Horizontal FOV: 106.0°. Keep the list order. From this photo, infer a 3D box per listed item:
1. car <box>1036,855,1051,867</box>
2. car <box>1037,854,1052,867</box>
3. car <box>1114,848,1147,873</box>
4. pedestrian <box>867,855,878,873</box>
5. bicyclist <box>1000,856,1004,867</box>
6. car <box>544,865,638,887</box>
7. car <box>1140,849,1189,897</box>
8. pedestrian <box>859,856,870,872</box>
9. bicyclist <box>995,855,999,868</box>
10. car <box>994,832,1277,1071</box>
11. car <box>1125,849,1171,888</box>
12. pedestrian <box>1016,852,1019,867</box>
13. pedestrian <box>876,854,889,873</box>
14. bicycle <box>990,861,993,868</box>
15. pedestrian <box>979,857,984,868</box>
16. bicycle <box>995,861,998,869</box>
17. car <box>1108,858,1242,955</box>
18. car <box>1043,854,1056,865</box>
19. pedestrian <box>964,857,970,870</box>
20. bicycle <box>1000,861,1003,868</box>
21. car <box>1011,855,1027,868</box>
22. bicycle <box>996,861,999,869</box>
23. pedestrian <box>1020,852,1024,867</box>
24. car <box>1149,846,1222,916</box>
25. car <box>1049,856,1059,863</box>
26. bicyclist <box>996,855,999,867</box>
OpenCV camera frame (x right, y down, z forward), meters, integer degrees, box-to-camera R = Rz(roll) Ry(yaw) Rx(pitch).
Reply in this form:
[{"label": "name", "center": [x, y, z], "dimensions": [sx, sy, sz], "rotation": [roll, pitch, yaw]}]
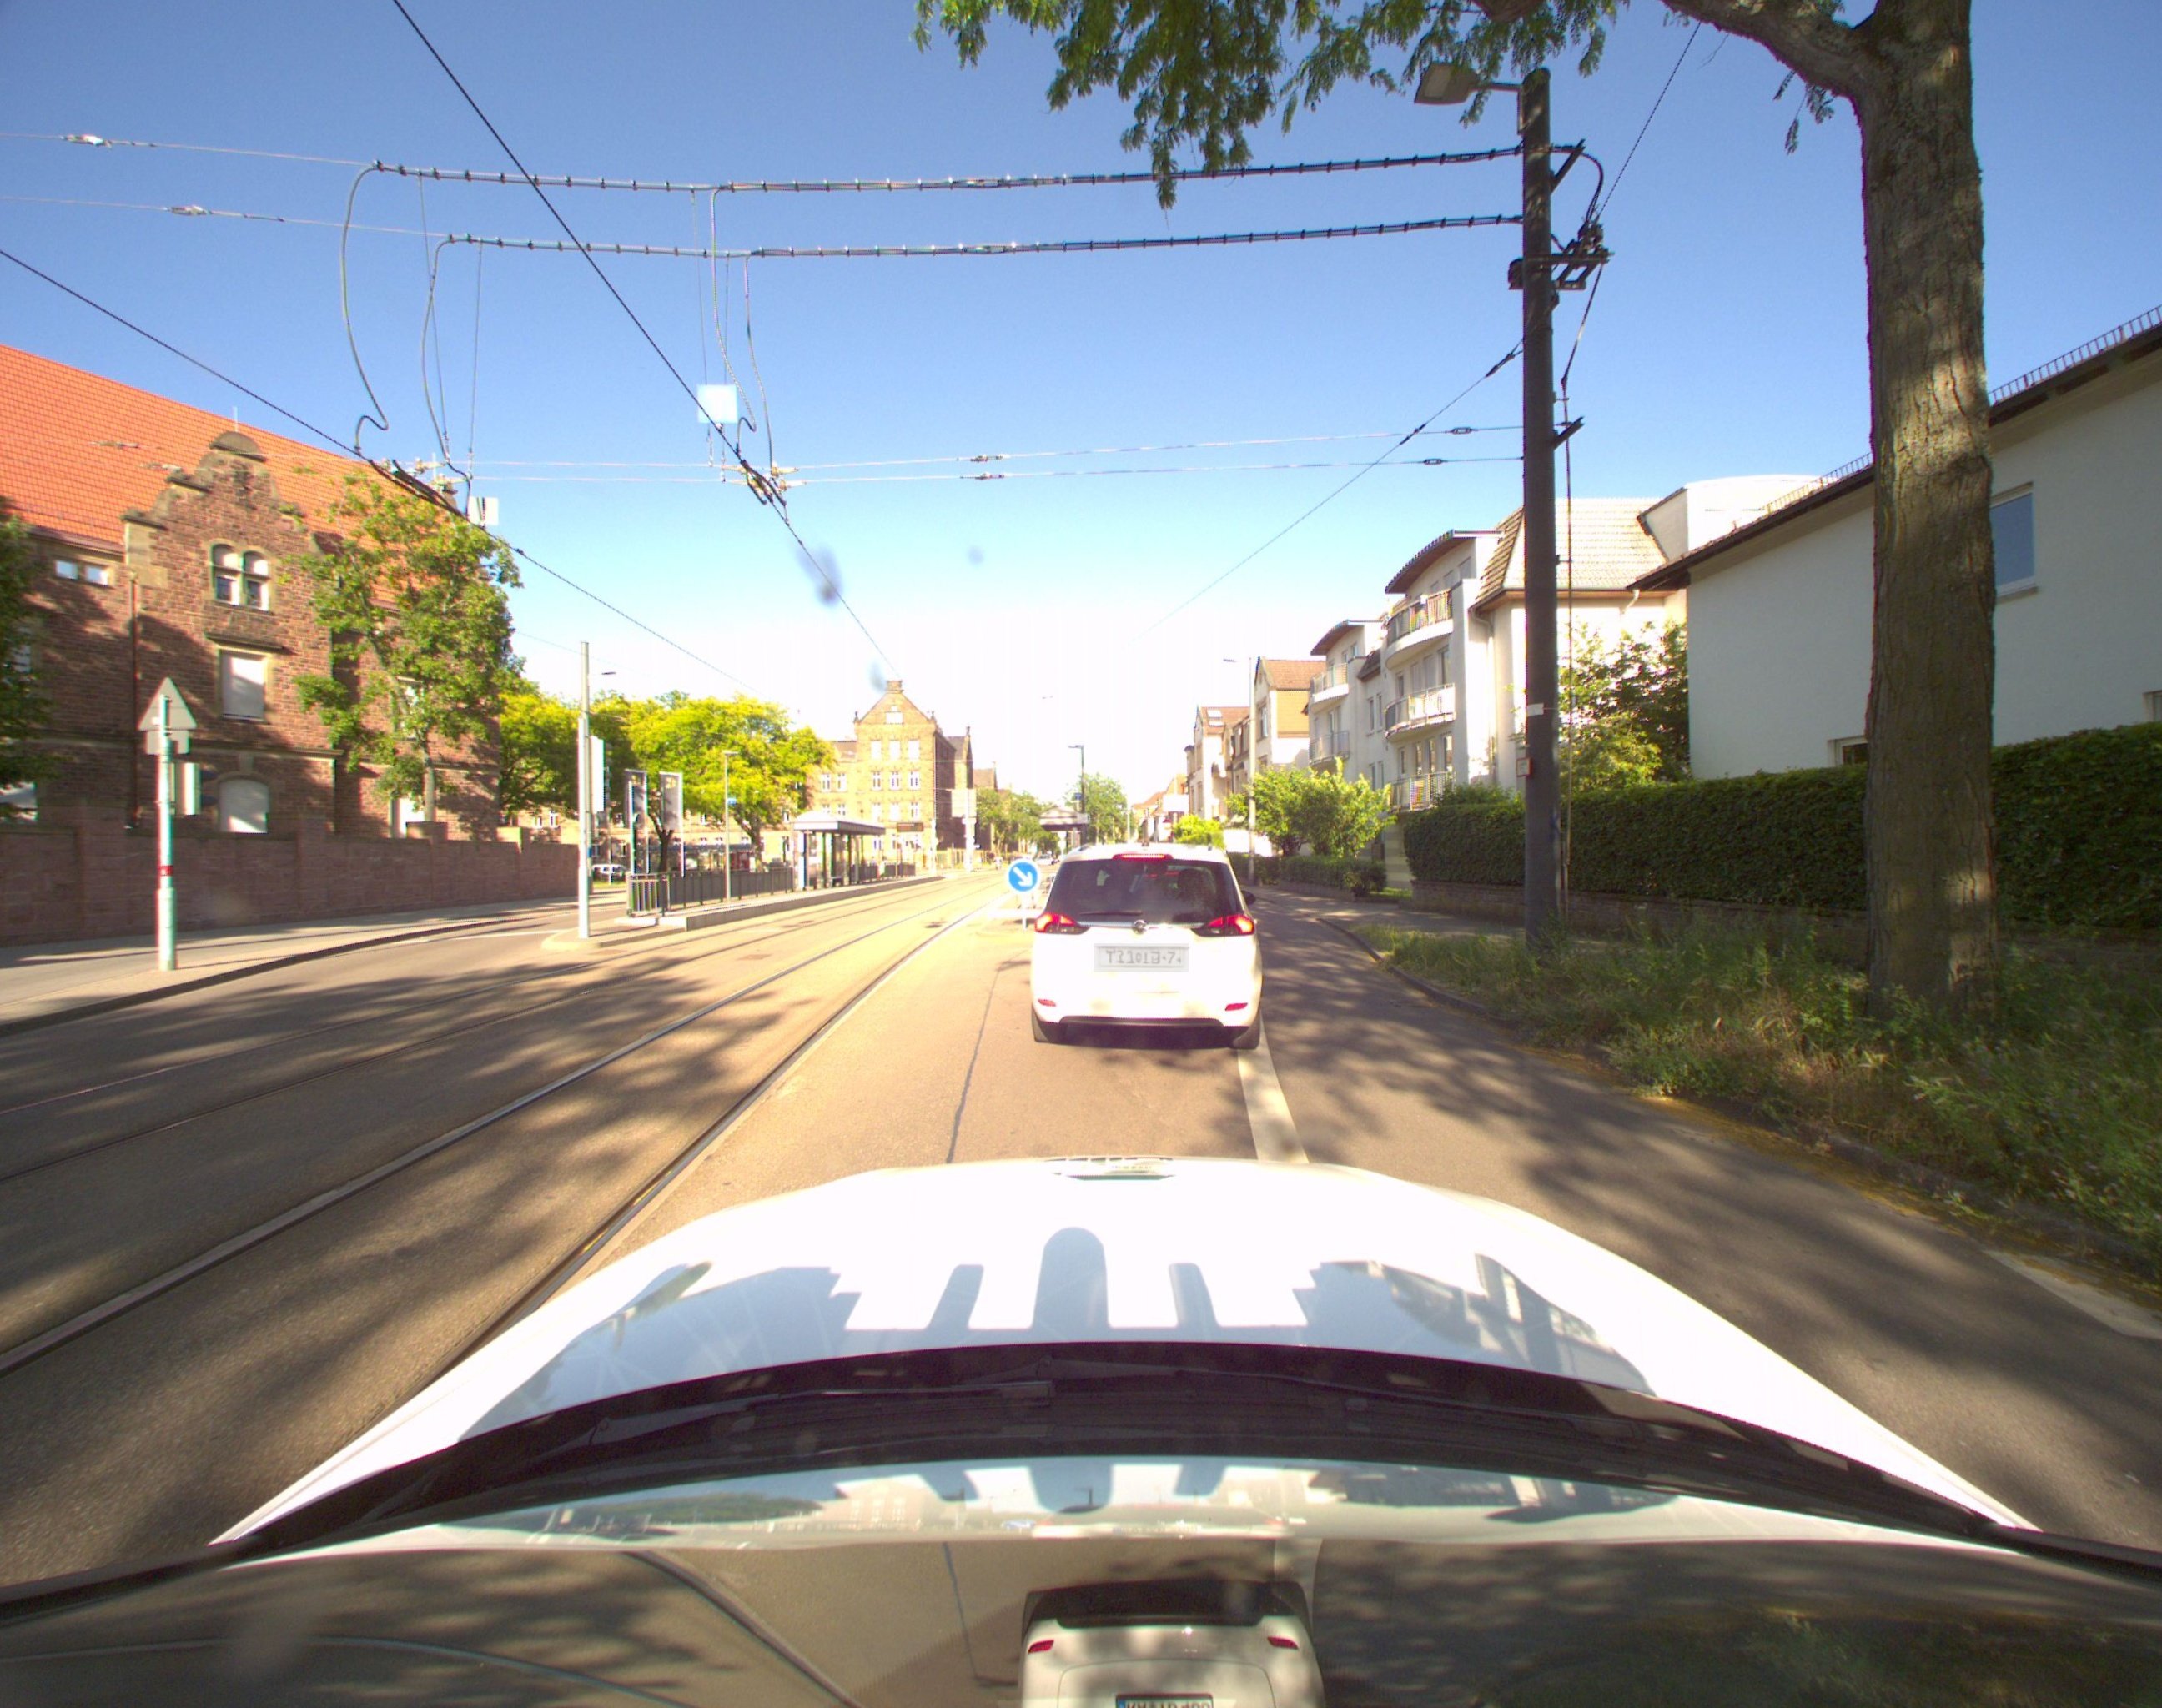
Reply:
[{"label": "car", "center": [-5.292, 0.948, 114.746], "dimensions": [1.989, 1.629, 3.996], "rotation": [-1, 0, -3]}, {"label": "car", "center": [-4.810, 0.887, 107.624], "dimensions": [1.989, 1.629, 3.996], "rotation": [-1, 0, -3]}, {"label": "car", "center": [3.109, 0.381, 51.846], "dimensions": [1.986, 1.503, 4.002], "rotation": [-1, 0, 2]}, {"label": "pedestrian", "center": [-19.347, 0.936, 75.549], "dimensions": [0.799, 1.588, 0.934], "rotation": [0, -1, -1]}, {"label": "bicyclist", "center": [-10.657, 0.993, 109.605], "dimensions": [0.443, 1.553, 0.495], "rotation": [-1, 0, -2]}, {"label": "car", "center": [-46.181, 2.059, 76.872], "dimensions": [6.927, 1.921, 2.992], "rotation": [-1, 0, 0]}, {"label": "car", "center": [2.952, 0.632, 29.322], "dimensions": [1.630, 1.601, 3.859], "rotation": [-1, 0, 4]}, {"label": "pedestrian", "center": [-20.838, 0.975, 78.561], "dimensions": [0.799, 1.588, 0.934], "rotation": [0, -1, -1]}, {"label": "bicyclist", "center": [-10.702, 0.945, 103.735], "dimensions": [0.443, 1.553, 0.742], "rotation": [-1, 0, -2]}, {"label": "car", "center": [0.653, 0.683, 7.706], "dimensions": [1.982, 1.644, 4.003], "rotation": [0, 0, 8]}, {"label": "car", "center": [2.938, 0.608, 36.252], "dimensions": [1.824, 1.579, 4.012], "rotation": [-1, 0, 2]}, {"label": "pedestrian", "center": [-8.764, 0.771, 112.384], "dimensions": [0.443, 2.013, 0.495], "rotation": [-1, 0, -2]}, {"label": "pedestrian", "center": [-18.036, 0.871, 74.101], "dimensions": [0.892, 1.684, 1.029], "rotation": [0, -1, 1]}, {"label": "bicycle", "center": [-12.673, 1.523, 115.638], "dimensions": [0.343, 0.950, 0.996], "rotation": [0, -1, -1]}, {"label": "pedestrian", "center": [-15.314, 1.285, 124.839], "dimensions": [0.733, 1.714, 0.753], "rotation": [0, -1, -4]}, {"label": "bicycle", "center": [-10.710, 1.412, 103.525], "dimensions": [0.343, 0.950, 1.160], "rotation": [0, -1, -1]}, {"label": "car", "center": [1.540, 0.790, 14.068], "dimensions": [1.944, 1.397, 4.005], "rotation": [-1, 0, 4]}, {"label": "car", "center": [-5.224, 0.912, 136.985], "dimensions": [1.987, 1.629, 4.000], "rotation": [-1, 0, 0]}, {"label": "pedestrian", "center": [-15.000, 1.281, 107.260], "dimensions": [0.733, 1.714, 0.705], "rotation": [0, -1, -5]}, {"label": "bicycle", "center": [-10.656, 1.460, 109.610], "dimensions": [0.343, 0.950, 0.996], "rotation": [0, -1, -1]}, {"label": "car", "center": [-8.187, 0.920, 107.482], "dimensions": [1.989, 1.629, 3.996], "rotation": [-1, 0, -3]}, {"label": "bicycle", "center": [-10.998, 1.442, 107.067], "dimensions": [0.343, 0.950, 0.996], "rotation": [0, -1, -1]}, {"label": "pedestrian", "center": [-8.159, 0.768, 112.648], "dimensions": [0.443, 2.013, 0.495], "rotation": [-1, 0, -2]}, {"label": "car", "center": [2.582, 0.636, 20.896], "dimensions": [1.630, 1.601, 3.859], "rotation": [-1, 0, 4]}, {"label": "car", "center": [-5.891, 1.203, 176.479], "dimensions": [1.989, 1.629, 3.984], "rotation": [-1, 0, -3]}, {"label": "bicyclist", "center": [-10.974, 0.975, 107.026], "dimensions": [0.443, 1.553, 0.495], "rotation": [-1, 0, -2]}]
